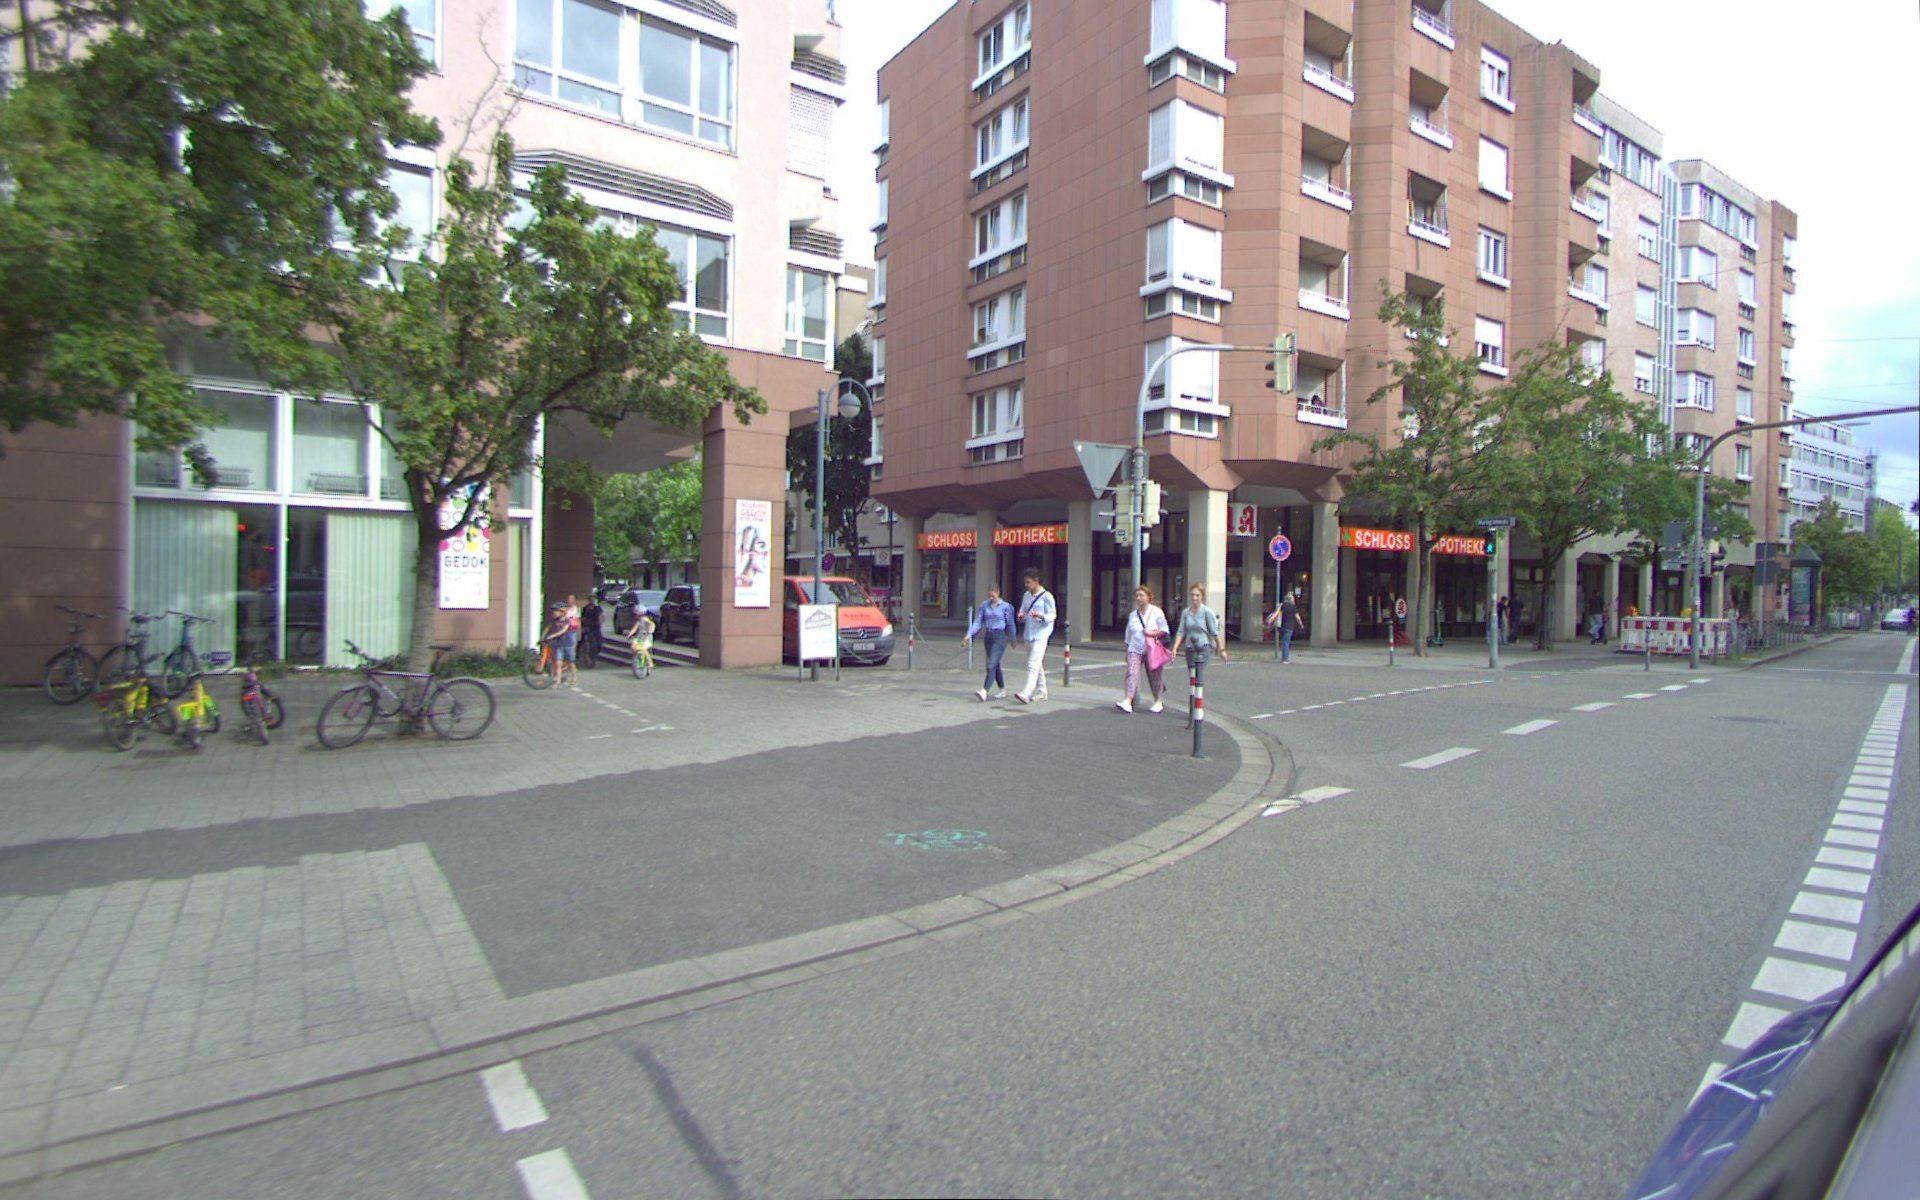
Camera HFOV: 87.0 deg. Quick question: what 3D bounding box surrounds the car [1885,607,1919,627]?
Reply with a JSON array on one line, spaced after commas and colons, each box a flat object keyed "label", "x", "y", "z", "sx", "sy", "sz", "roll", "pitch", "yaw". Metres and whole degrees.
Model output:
[{"label": "car", "x": 77.661, "y": 1.377, "z": 83.357, "sx": 4.587, "sy": 1.460, "sz": 1.819, "roll": 1, "pitch": 2, "yaw": -43}]

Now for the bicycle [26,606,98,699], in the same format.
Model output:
[{"label": "bicycle", "x": -10.997, "y": 0.605, "z": 12.430, "sx": 0.536, "sy": 1.021, "sz": 1.734, "roll": 0, "pitch": 1, "yaw": -38}]

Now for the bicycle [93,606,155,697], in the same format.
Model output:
[{"label": "bicycle", "x": -10.522, "y": 0.612, "z": 12.766, "sx": 0.536, "sy": 1.021, "sz": 1.734, "roll": 0, "pitch": 1, "yaw": -38}]

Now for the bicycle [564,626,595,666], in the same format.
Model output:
[{"label": "bicycle", "x": -8.828, "y": 1.056, "z": 23.461, "sx": 0.347, "sy": 0.848, "sz": 1.353, "roll": 1, "pitch": 1, "yaw": -35}]

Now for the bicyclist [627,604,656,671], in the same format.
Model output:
[{"label": "bicyclist", "x": -5.283, "y": 0.619, "z": 16.784, "sx": 0.426, "sy": 1.079, "sz": 0.499, "roll": 1, "pitch": 0, "yaw": -20}]

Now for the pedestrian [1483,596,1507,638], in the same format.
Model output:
[{"label": "pedestrian", "x": 17.641, "y": 0.560, "z": 33.372, "sx": 0.475, "sy": 1.340, "sz": 0.489, "roll": 1, "pitch": 0, "yaw": -3}]

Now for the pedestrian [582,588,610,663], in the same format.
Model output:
[{"label": "pedestrian", "x": -8.624, "y": 0.600, "z": 23.976, "sx": 0.471, "sy": 1.746, "sz": 0.590, "roll": 1, "pitch": 0, "yaw": -35}]

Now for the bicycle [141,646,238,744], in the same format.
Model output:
[{"label": "bicycle", "x": -7.573, "y": 0.903, "z": 9.989, "sx": 0.435, "sy": 0.824, "sz": 1.305, "roll": 1, "pitch": 1, "yaw": -23}]

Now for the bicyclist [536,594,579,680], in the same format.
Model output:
[{"label": "bicyclist", "x": -6.029, "y": 0.545, "z": 15.169, "sx": 0.471, "sy": 1.260, "sz": 0.498, "roll": 1, "pitch": 0, "yaw": -7}]

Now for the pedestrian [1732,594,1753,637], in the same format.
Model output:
[{"label": "pedestrian", "x": 30.978, "y": 0.597, "z": 40.063, "sx": 0.811, "sy": 1.670, "sz": 0.544, "roll": 1, "pitch": 0, "yaw": -45}]

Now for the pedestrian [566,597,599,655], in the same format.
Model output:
[{"label": "pedestrian", "x": -9.483, "y": 0.642, "z": 25.432, "sx": 0.607, "sy": 1.432, "sz": 0.652, "roll": 1, "pitch": 0, "yaw": -35}]

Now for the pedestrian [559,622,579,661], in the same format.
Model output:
[{"label": "pedestrian", "x": -9.368, "y": 0.988, "z": 24.250, "sx": 0.357, "sy": 0.884, "sz": 0.427, "roll": 1, "pitch": 0, "yaw": -35}]

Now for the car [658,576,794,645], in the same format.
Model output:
[{"label": "car", "x": -6.253, "y": 0.189, "z": 26.624, "sx": 1.961, "sy": 1.610, "sz": 4.846, "roll": -2, "pitch": 2, "yaw": -32}]

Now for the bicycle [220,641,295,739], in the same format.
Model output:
[{"label": "bicycle", "x": -7.048, "y": 0.871, "z": 10.185, "sx": 0.444, "sy": 0.848, "sz": 1.305, "roll": 0, "pitch": 1, "yaw": -27}]

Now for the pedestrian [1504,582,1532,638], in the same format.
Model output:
[{"label": "pedestrian", "x": 18.297, "y": 0.318, "z": 33.204, "sx": 0.645, "sy": 1.822, "sz": 0.553, "roll": 1, "pitch": 0, "yaw": -34}]

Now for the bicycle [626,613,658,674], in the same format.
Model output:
[{"label": "bicycle", "x": -5.278, "y": 0.701, "z": 16.753, "sx": 0.443, "sy": 0.926, "sz": 1.286, "roll": 1, "pitch": 1, "yaw": -20}]

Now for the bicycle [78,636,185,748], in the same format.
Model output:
[{"label": "bicycle", "x": -8.033, "y": 0.859, "z": 9.853, "sx": 0.444, "sy": 0.878, "sz": 1.306, "roll": 1, "pitch": 3, "yaw": -23}]

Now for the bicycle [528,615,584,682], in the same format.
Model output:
[{"label": "bicycle", "x": -6.054, "y": 0.704, "z": 15.212, "sx": 0.465, "sy": 0.926, "sz": 1.321, "roll": 1, "pitch": 1, "yaw": -8}]

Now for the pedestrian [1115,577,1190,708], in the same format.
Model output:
[{"label": "pedestrian", "x": 2.498, "y": 0.533, "z": 13.142, "sx": 0.835, "sy": 1.636, "sz": 0.518, "roll": 1, "pitch": 0, "yaw": -39}]

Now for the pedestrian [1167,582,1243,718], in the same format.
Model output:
[{"label": "pedestrian", "x": 3.070, "y": 0.597, "z": 12.681, "sx": 0.836, "sy": 1.636, "sz": 0.518, "roll": 1, "pitch": 0, "yaw": -40}]

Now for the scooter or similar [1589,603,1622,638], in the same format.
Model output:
[{"label": "scooter or similar", "x": 22.709, "y": 0.707, "z": 35.605, "sx": 1.304, "sy": 1.221, "sz": 0.475, "roll": 0, "pitch": 0, "yaw": -33}]

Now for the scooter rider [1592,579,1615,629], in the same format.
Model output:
[{"label": "scooter rider", "x": 22.599, "y": 0.130, "z": 35.538, "sx": 0.542, "sy": 1.742, "sz": 0.464, "roll": 1, "pitch": 0, "yaw": -33}]

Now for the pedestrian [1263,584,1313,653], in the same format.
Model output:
[{"label": "pedestrian", "x": 7.618, "y": 0.422, "z": 23.519, "sx": 0.929, "sy": 1.557, "sz": 0.677, "roll": 0, "pitch": 0, "yaw": -38}]

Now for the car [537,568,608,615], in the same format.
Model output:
[{"label": "car", "x": -16.618, "y": -0.381, "z": 43.243, "sx": 1.948, "sy": 1.924, "sz": 4.688, "roll": 1, "pitch": 1, "yaw": -32}]

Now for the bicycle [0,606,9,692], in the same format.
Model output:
[{"label": "bicycle", "x": -11.638, "y": 0.596, "z": 11.955, "sx": 0.416, "sy": 1.021, "sz": 1.734, "roll": 0, "pitch": 1, "yaw": -38}]

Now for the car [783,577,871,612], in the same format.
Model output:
[{"label": "car", "x": -6.267, "y": -0.260, "z": 48.055, "sx": 1.834, "sy": 1.576, "sz": 4.411, "roll": 1, "pitch": 1, "yaw": 31}]

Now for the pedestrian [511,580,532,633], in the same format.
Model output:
[{"label": "pedestrian", "x": -16.341, "y": 0.235, "z": 37.692, "sx": 0.639, "sy": 1.929, "sz": 0.620, "roll": 1, "pitch": 0, "yaw": -30}]

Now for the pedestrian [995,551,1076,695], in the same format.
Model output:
[{"label": "pedestrian", "x": 1.014, "y": 0.289, "z": 13.578, "sx": 0.835, "sy": 1.851, "sz": 0.678, "roll": 1, "pitch": 0, "yaw": -38}]

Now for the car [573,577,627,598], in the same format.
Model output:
[{"label": "car", "x": -30.038, "y": -1.069, "z": 84.561, "sx": 3.928, "sy": 1.699, "sz": 1.727, "roll": 0, "pitch": 1, "yaw": -39}]

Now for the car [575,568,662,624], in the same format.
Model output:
[{"label": "car", "x": -12.575, "y": -0.176, "z": 37.103, "sx": 1.948, "sy": 1.924, "sz": 4.688, "roll": 1, "pitch": 1, "yaw": -32}]

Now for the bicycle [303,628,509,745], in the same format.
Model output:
[{"label": "bicycle", "x": -5.489, "y": 0.814, "z": 10.090, "sx": 1.705, "sy": 1.021, "sz": 0.618, "roll": 0, "pitch": 1, "yaw": -41}]

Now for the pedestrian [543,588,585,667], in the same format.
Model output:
[{"label": "pedestrian", "x": -8.247, "y": 0.560, "z": 21.081, "sx": 0.662, "sy": 1.599, "sz": 0.652, "roll": 1, "pitch": 0, "yaw": -36}]

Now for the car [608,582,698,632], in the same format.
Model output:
[{"label": "car", "x": -9.700, "y": 0.181, "z": 31.841, "sx": 1.692, "sy": 1.422, "sz": 3.983, "roll": -1, "pitch": 2, "yaw": -32}]

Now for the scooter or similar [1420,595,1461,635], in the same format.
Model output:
[{"label": "scooter or similar", "x": 14.924, "y": 0.459, "z": 31.403, "sx": 1.380, "sy": 1.184, "sz": 0.555, "roll": 0, "pitch": 0, "yaw": -36}]

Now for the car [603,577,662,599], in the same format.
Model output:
[{"label": "car", "x": -25.066, "y": -0.918, "z": 77.518, "sx": 3.933, "sy": 1.699, "sz": 1.844, "roll": 0, "pitch": 1, "yaw": -43}]

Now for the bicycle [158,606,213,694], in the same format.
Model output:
[{"label": "bicycle", "x": -10.089, "y": 0.614, "z": 13.181, "sx": 0.536, "sy": 1.021, "sz": 1.734, "roll": 0, "pitch": 1, "yaw": -38}]

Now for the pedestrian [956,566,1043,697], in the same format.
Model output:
[{"label": "pedestrian", "x": 0.549, "y": 0.412, "z": 13.951, "sx": 1.003, "sy": 1.722, "sz": 0.653, "roll": 1, "pitch": 0, "yaw": -37}]

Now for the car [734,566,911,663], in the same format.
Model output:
[{"label": "car", "x": -3.132, "y": 0.216, "z": 22.097, "sx": 1.961, "sy": 1.848, "sz": 4.846, "roll": -2, "pitch": 2, "yaw": -32}]

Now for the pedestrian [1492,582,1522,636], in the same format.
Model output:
[{"label": "pedestrian", "x": 18.398, "y": 0.301, "z": 34.049, "sx": 0.643, "sy": 1.822, "sz": 0.554, "roll": 1, "pitch": 0, "yaw": -15}]
